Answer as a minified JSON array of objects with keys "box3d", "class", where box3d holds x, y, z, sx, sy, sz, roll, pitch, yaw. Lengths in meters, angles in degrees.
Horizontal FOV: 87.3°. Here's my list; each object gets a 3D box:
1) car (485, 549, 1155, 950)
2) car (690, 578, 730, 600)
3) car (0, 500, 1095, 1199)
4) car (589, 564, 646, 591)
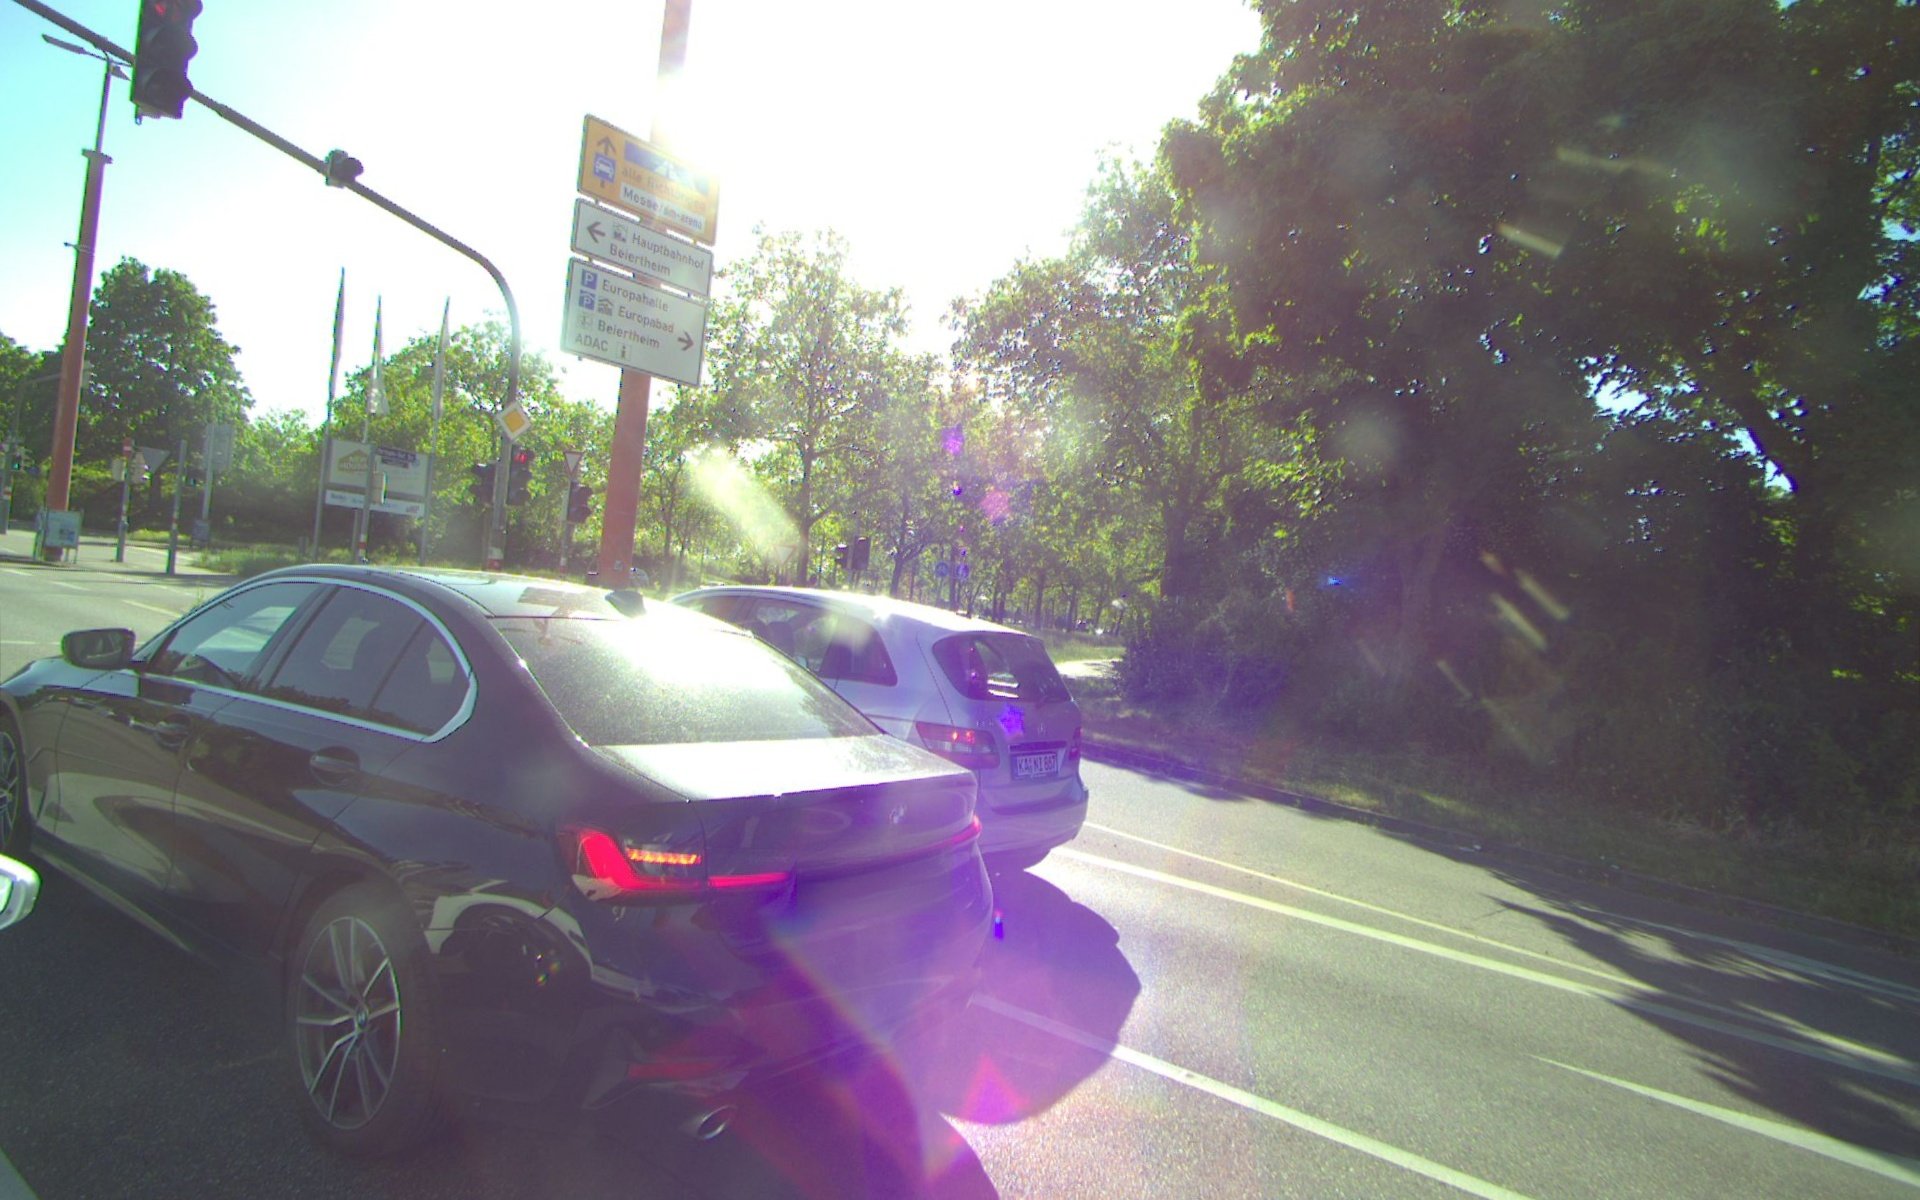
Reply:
[{"box3d":[-1.014,0.708,6.478,3.963,1.597,1.741,7,0,33],"class":"car"},{"box3d":[-21.590,-0.921,87.081,1.652,1.485,3.998,7,-1,12],"class":"car"},{"box3d":[-1.943,0.551,3.790,4.371,1.415,1.871,7,0,33],"class":"car"},{"box3d":[-25.056,-1.630,73.781,1.751,1.503,4.332,7,-1,13],"class":"car"}]
